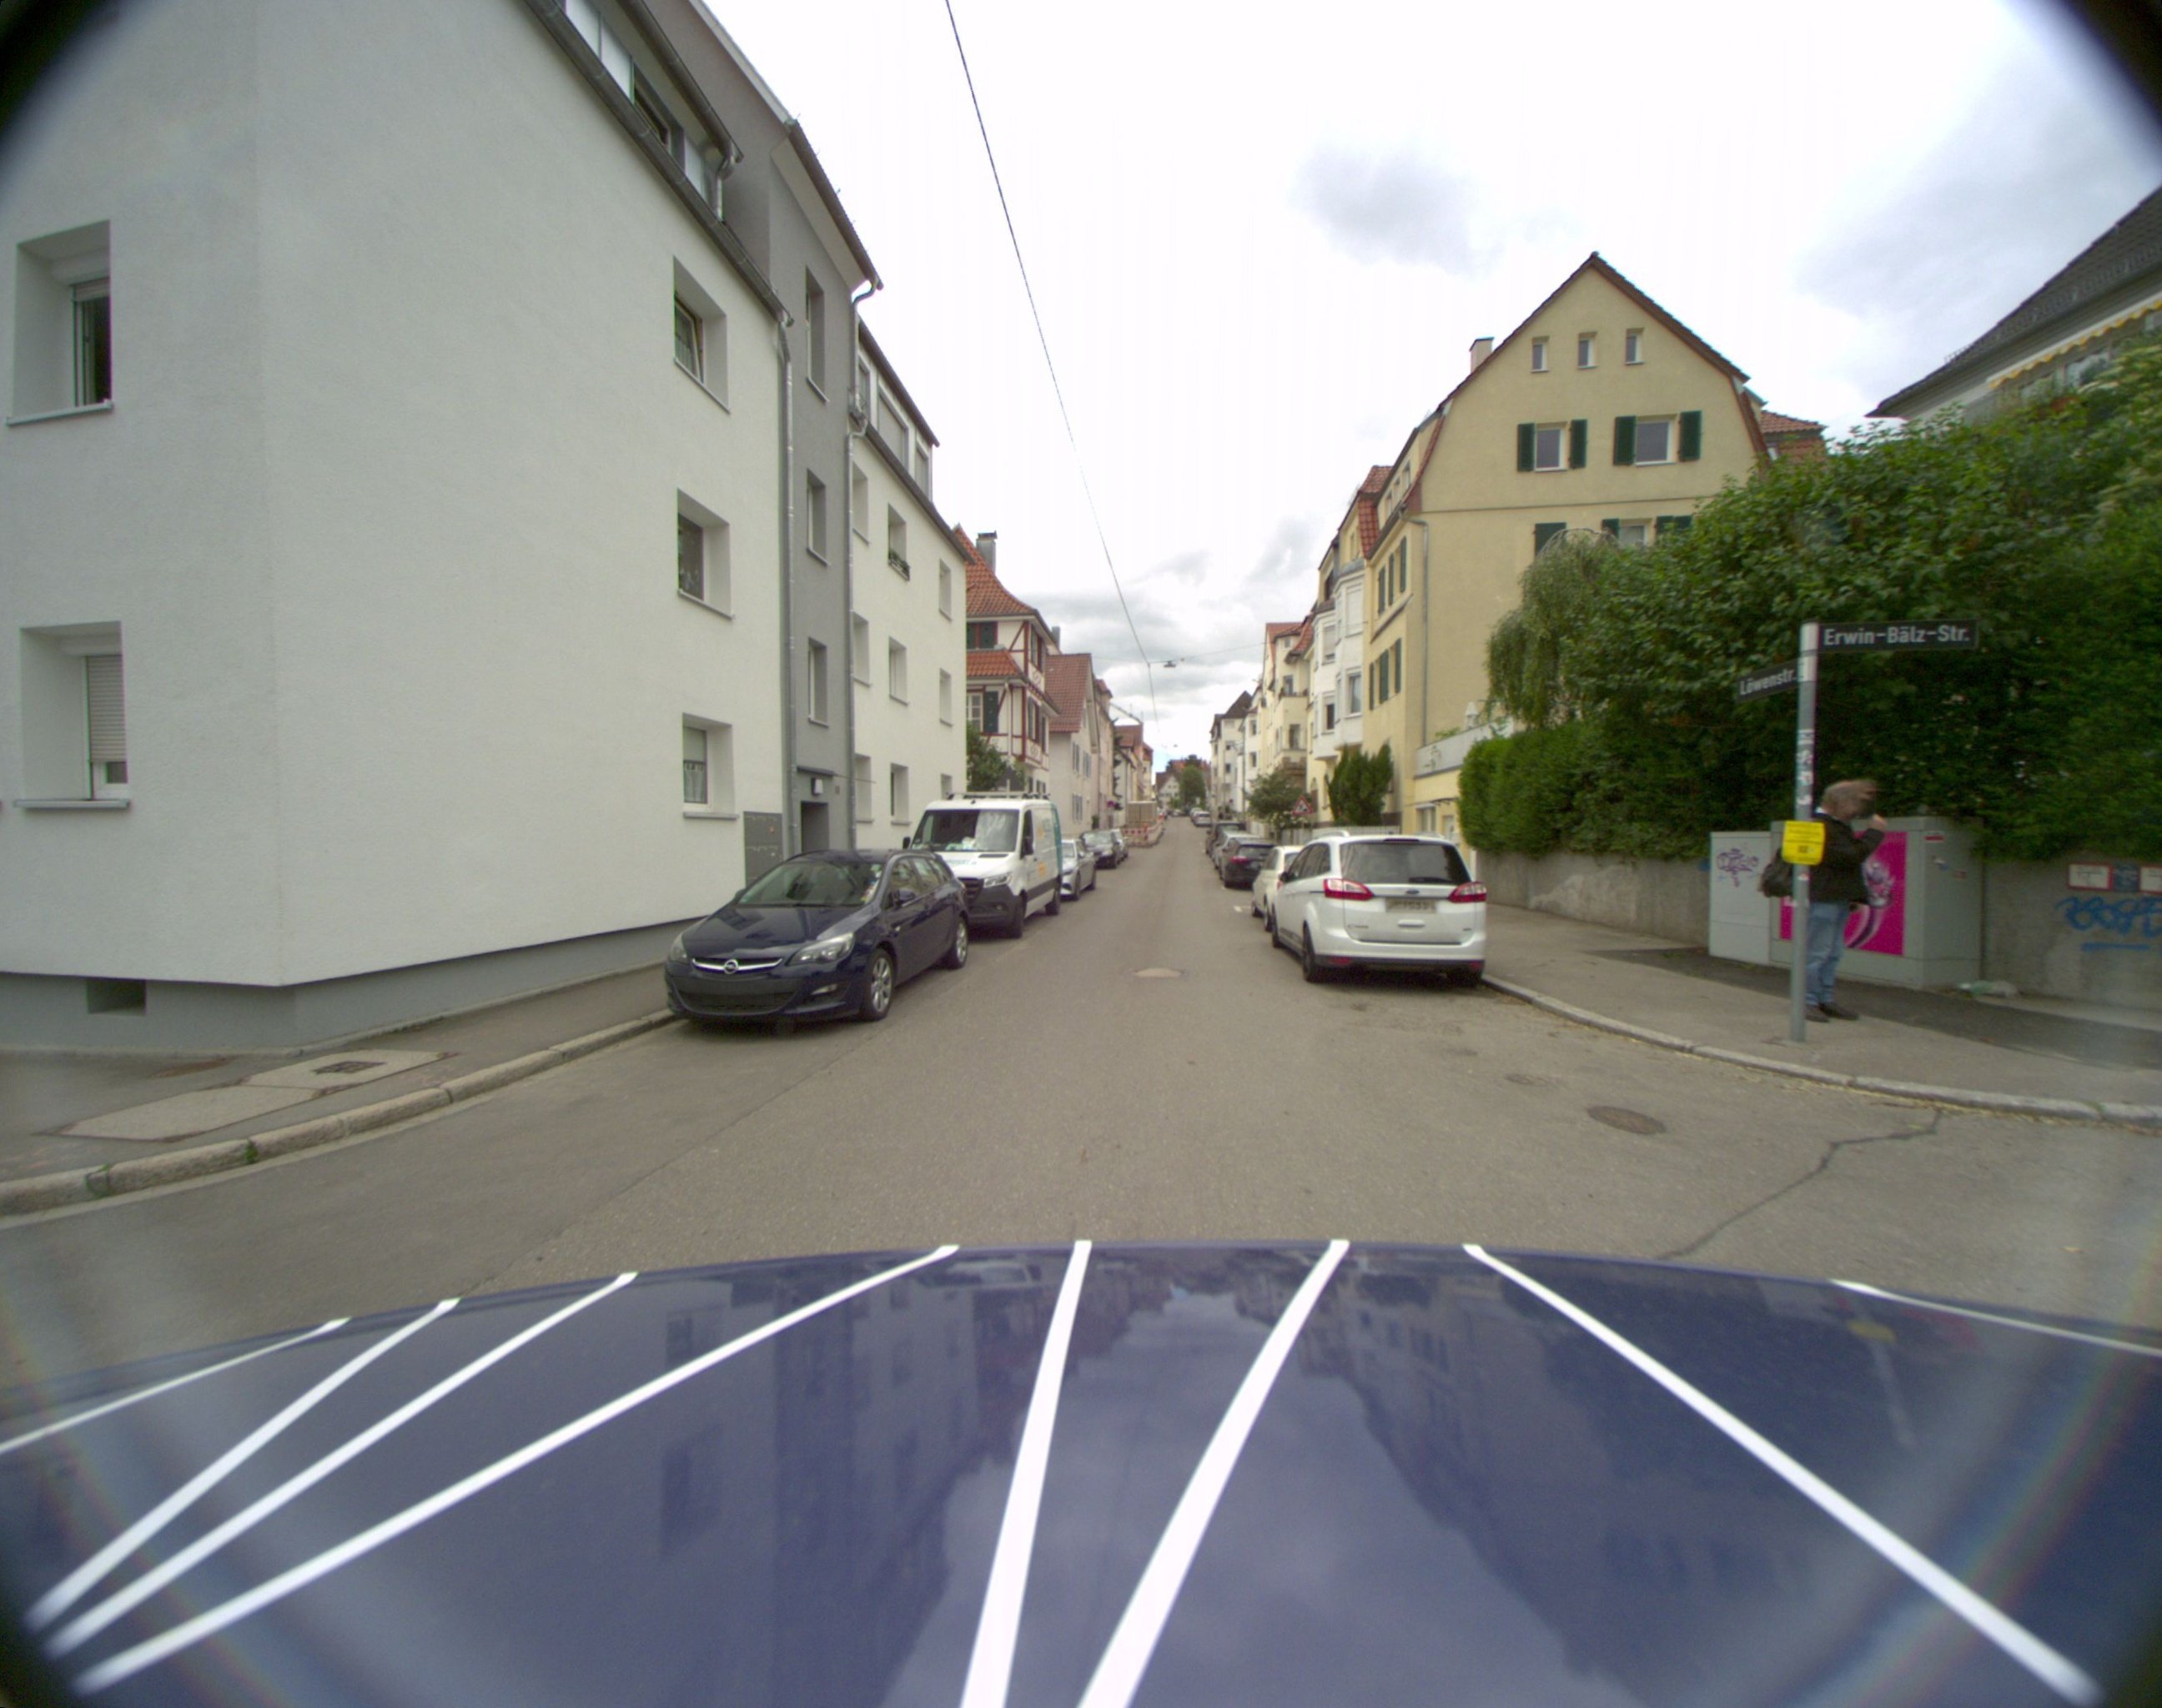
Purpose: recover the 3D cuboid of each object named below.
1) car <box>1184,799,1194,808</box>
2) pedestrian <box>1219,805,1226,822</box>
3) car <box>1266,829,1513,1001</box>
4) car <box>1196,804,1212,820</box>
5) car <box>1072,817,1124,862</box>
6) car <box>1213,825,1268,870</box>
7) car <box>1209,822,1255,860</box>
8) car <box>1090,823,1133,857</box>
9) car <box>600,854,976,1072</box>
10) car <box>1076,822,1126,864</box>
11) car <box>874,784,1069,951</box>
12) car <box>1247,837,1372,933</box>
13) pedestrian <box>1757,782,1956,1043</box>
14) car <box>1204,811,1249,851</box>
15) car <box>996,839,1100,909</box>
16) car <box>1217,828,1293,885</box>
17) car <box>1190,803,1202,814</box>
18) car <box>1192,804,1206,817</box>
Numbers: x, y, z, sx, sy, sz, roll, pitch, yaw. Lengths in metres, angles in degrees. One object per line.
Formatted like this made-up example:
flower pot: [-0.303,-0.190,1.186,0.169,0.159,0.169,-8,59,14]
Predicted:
car: [19.926,-9.314,140.244,1.781,1.558,3.999,-1,5,9]
pedestrian: [14.131,-4.085,75.991,0.616,1.647,0.812,-2,4,9]
car: [3.470,0.534,9.424,1.808,1.650,4.152,0,1,7]
car: [13.172,-4.529,81.452,1.662,1.558,3.999,0,5,9]
car: [0.776,-0.605,30.963,1.780,1.711,4.001,-1,2,6]
car: [5.848,-0.294,28.206,1.642,1.421,4.123,1,4,7]
car: [6.493,-0.623,33.006,1.642,1.392,3.702,2,4,7]
car: [1.492,-0.721,35.701,1.628,1.385,4.236,-2,3,7]
car: [-2.500,0.820,7.815,1.822,1.477,4.287,-1,2,6]
car: [0.894,-0.491,31.002,1.608,1.481,4.023,-1,3,7]
car: [-1.643,0.065,13.689,1.997,2.409,5.293,0,3,8]
car: [4.116,0.464,14.229,1.610,1.445,3.614,2,3,7]
pedestrian: [5.672,0.384,5.589,0.644,1.750,0.821,-3,2,-21]
car: [7.207,-1.201,37.861,1.752,1.787,4.148,1,4,5]
car: [-0.719,0.423,19.658,1.828,1.437,4.383,-1,3,9]
car: [5.108,-0.002,22.846,1.806,1.472,4.328,0,3,7]
car: [17.199,-6.852,113.405,1.781,1.558,3.999,0,5,9]
car: [15.358,-5.691,98.918,1.781,1.558,3.999,0,5,9]
